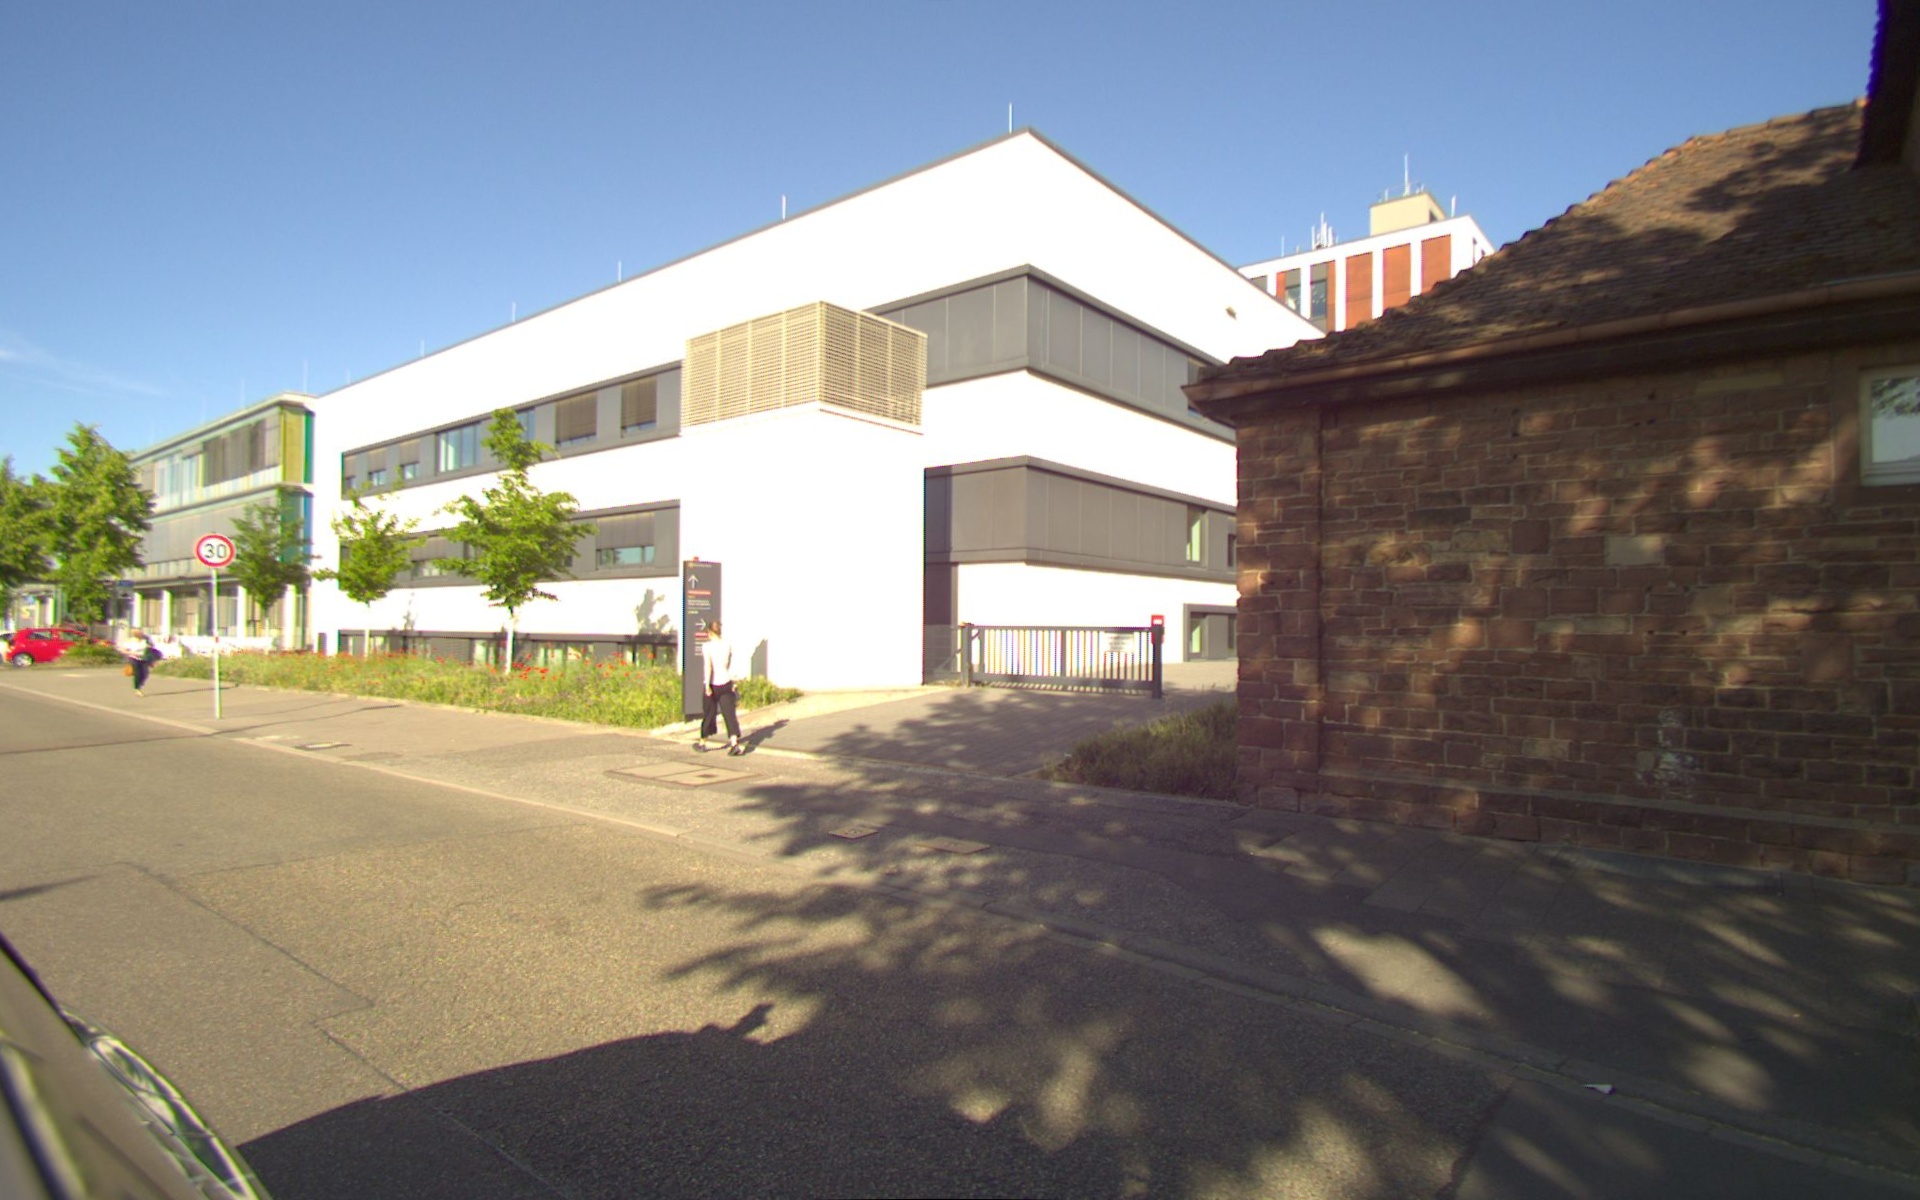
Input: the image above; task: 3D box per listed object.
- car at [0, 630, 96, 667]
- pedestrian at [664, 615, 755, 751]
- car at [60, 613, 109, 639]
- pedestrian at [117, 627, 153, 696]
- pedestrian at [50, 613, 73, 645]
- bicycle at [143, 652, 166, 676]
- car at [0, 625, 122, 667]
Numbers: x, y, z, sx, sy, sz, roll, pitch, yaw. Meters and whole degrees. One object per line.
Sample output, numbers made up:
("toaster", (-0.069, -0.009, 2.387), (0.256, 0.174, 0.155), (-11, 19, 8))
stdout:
("car", (-37.038, 1.905, 39.838), (1.699, 1.378, 4.463), (-2, -1, 42))
("pedestrian", (-3.049, 0.983, 12.319), (1.094, 1.574, 0.516), (-2, -2, 39))
("car", (-64.845, 1.943, 74.910), (4.706, 1.905, 1.900), (-2, -3, 39))
("pedestrian", (-18.832, 1.388, 23.102), (0.607, 1.535, 0.532), (-1, -2, 40))
("pedestrian", (-45.395, 1.446, 51.141), (0.779, 1.561, 0.765), (-1, 0, 40))
("bicycle", (-38.712, 3.053, 48.604), (1.860, 1.120, 0.529), (-2, -3, 42))
("car", (-34.703, 1.758, 39.010), (3.592, 1.480, 1.615), (0, -2, -44))
